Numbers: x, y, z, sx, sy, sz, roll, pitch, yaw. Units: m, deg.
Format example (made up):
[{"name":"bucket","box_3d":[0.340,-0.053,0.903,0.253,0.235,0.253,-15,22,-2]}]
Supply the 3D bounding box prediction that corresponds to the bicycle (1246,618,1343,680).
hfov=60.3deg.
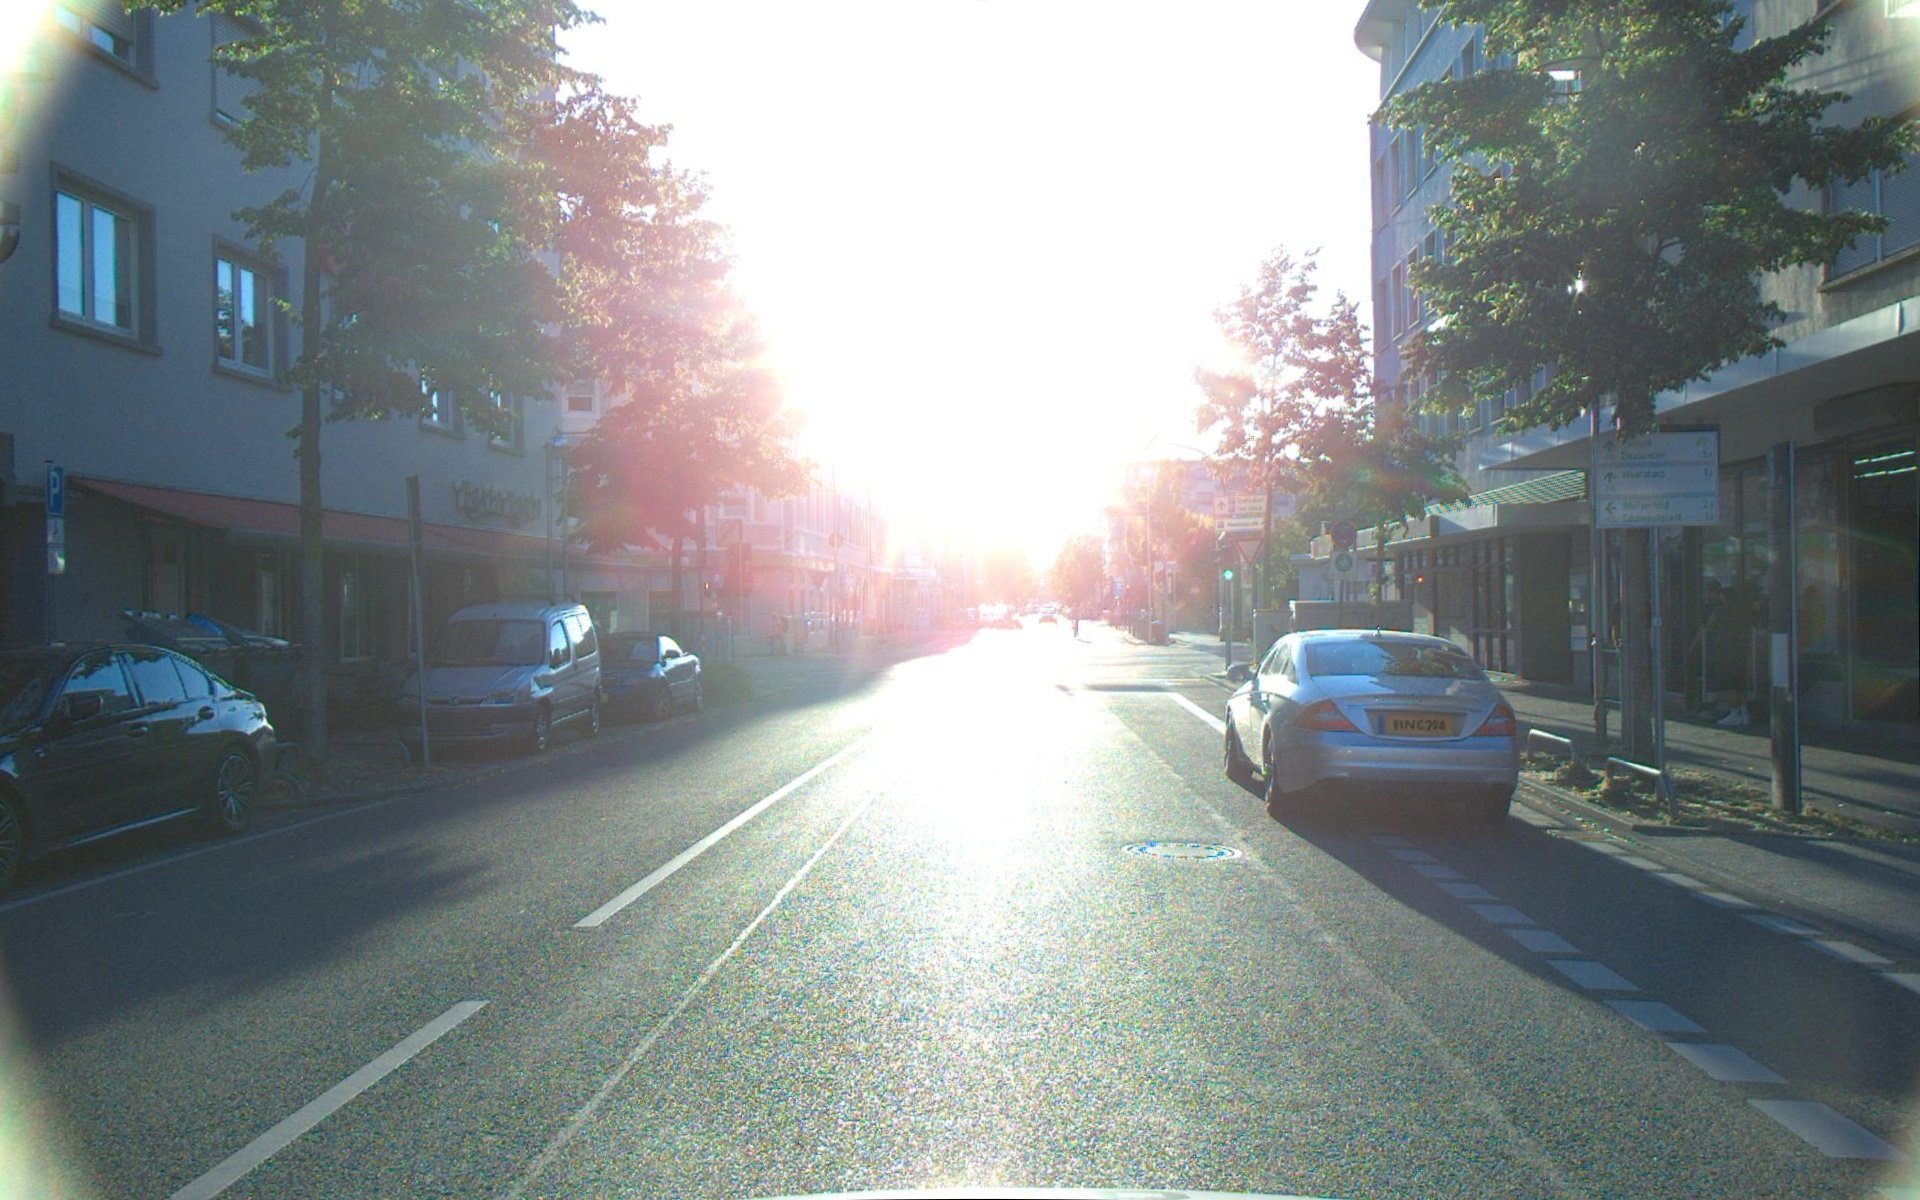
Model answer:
[{"name":"bicycle","box_3d":[6.850,1.003,33.914,1.872,1.224,0.470,-1,-1,5]}]

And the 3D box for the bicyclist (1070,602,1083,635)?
[{"name":"bicyclist","box_3d":[6.193,0.965,88.107,0.664,1.737,0.670,-1,-1,5]}]

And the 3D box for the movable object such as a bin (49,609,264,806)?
[{"name":"movable object such as a bin","box_3d":[-7.470,0.965,15.460,1.254,1.702,1.369,2,0,1]}]

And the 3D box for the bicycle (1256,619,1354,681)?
[{"name":"bicycle","box_3d":[6.967,1.008,33.413,1.872,1.224,0.470,-1,-1,5]}]

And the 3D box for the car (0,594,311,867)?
[{"name":"car","box_3d":[-6.273,0.767,10.986,1.875,1.537,4.640,-2,0,3]}]

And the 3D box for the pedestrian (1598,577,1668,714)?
[{"name":"pedestrian","box_3d":[9.209,0.613,22.654,0.693,1.839,0.650,1,0,3]}]

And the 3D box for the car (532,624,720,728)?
[{"name":"car","box_3d":[-5.193,1.142,26.327,1.875,1.410,4.383,-2,0,3]}]

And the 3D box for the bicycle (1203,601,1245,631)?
[{"name":"bicycle","box_3d":[14.237,0.871,89.212,2.175,1.549,0.681,-1,-1,8]}]

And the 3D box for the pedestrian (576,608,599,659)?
[{"name":"pedestrian","box_3d":[-13.059,1.168,57.943,0.686,1.776,0.636,-1,-1,-19]}]

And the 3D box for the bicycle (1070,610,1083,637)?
[{"name":"bicycle","box_3d":[6.220,1.255,88.223,0.664,1.426,2.231,-1,0,5]}]

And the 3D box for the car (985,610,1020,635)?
[{"name":"car","box_3d":[3.122,1.602,120.103,2.255,1.708,5.534,-1,0,3]}]

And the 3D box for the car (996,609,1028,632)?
[{"name":"car","box_3d":[4.022,1.585,127.659,2.255,1.708,5.534,-1,0,3]}]

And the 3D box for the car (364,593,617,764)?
[{"name":"car","box_3d":[-5.620,0.876,20.354,1.876,1.818,4.148,-2,0,0]}]

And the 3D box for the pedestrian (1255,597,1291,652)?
[{"name":"pedestrian","box_3d":[10.189,0.798,53.896,0.789,1.756,0.992,-3,-2,31]}]

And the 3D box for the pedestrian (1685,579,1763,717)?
[{"name":"pedestrian","box_3d":[9.608,0.588,20.815,0.628,1.689,0.777,1,0,3]}]

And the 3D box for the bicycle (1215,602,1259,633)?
[{"name":"bicycle","box_3d":[14.389,0.895,86.051,2.175,1.549,0.681,-1,-1,4]}]

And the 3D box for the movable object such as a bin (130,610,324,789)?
[{"name":"movable object such as a bin","box_3d":[-7.446,0.975,16.893,1.255,1.702,1.441,2,0,1]}]

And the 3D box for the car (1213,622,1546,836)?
[{"name":"car","box_3d":[3.252,0.921,13.728,1.763,1.402,4.553,1,0,2]}]

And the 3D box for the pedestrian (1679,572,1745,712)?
[{"name":"pedestrian","box_3d":[9.917,0.547,21.816,0.571,1.814,0.526,1,0,-16]}]

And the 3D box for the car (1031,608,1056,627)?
[{"name":"car","box_3d":[7.905,1.651,156.063,2.255,1.708,5.534,-1,0,3]}]

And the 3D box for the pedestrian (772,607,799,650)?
[{"name":"pedestrian","box_3d":[-6.557,1.081,62.270,0.854,1.575,0.695,-1,-1,-19]}]
